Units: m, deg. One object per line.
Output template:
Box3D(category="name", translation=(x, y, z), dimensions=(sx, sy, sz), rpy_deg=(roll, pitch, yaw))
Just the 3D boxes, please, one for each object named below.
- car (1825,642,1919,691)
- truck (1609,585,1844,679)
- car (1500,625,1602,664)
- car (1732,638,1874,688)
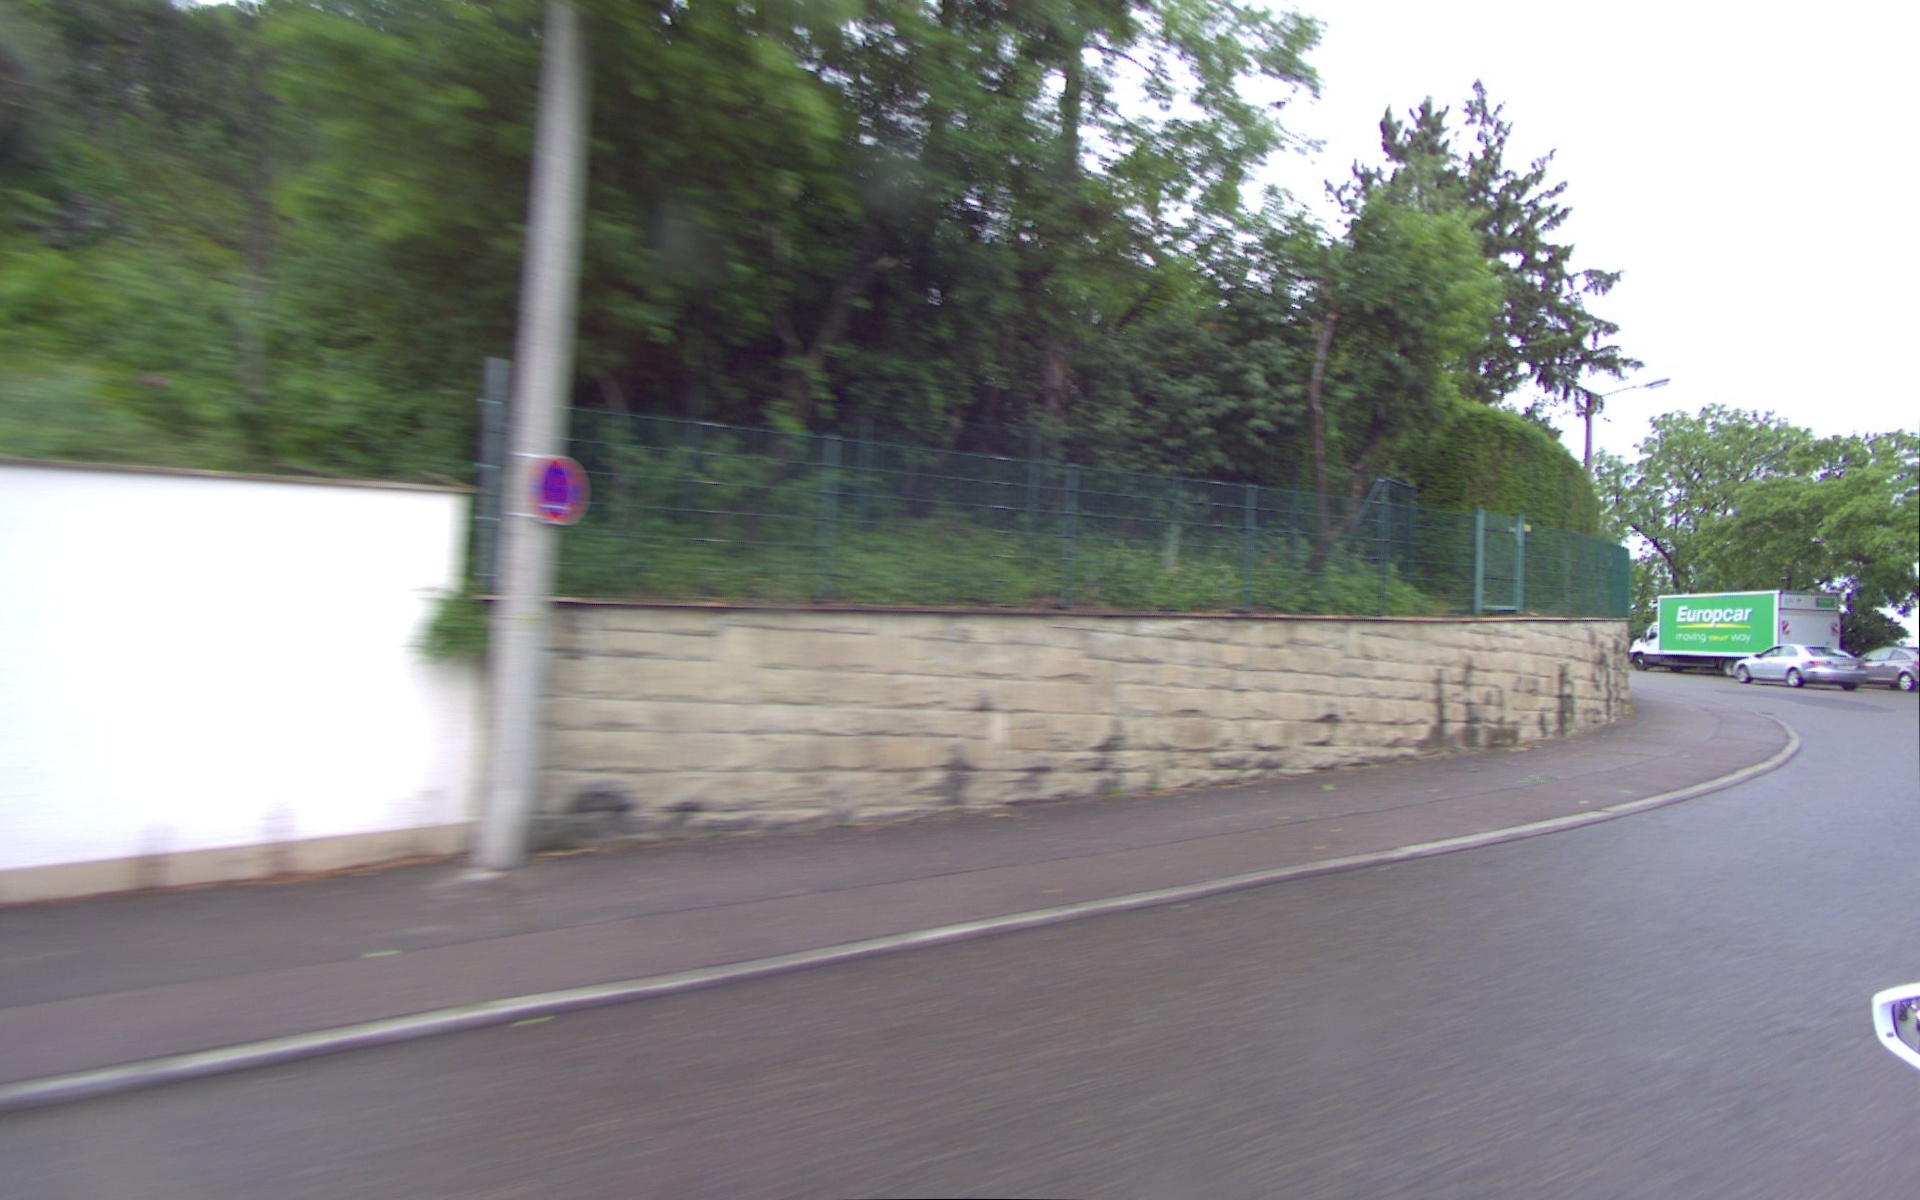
Box3D(category="car", translation=(32.092, 2.253, 34.388), dimensions=(1.704, 1.523, 4.138), rpy_deg=(1, -1, 7))
Box3D(category="truck", translation=(32.222, 1.288, 42.906), dimensions=(2.729, 3.516, 8.928), rpy_deg=(2, -1, -4))
Box3D(category="car", translation=(30.662, 2.282, 52.267), dimensions=(1.838, 1.794, 4.357), rpy_deg=(3, -1, -21))
Box3D(category="car", translation=(27.844, 2.047, 33.348), dimensions=(1.822, 1.478, 4.098), rpy_deg=(0, -1, 10))
